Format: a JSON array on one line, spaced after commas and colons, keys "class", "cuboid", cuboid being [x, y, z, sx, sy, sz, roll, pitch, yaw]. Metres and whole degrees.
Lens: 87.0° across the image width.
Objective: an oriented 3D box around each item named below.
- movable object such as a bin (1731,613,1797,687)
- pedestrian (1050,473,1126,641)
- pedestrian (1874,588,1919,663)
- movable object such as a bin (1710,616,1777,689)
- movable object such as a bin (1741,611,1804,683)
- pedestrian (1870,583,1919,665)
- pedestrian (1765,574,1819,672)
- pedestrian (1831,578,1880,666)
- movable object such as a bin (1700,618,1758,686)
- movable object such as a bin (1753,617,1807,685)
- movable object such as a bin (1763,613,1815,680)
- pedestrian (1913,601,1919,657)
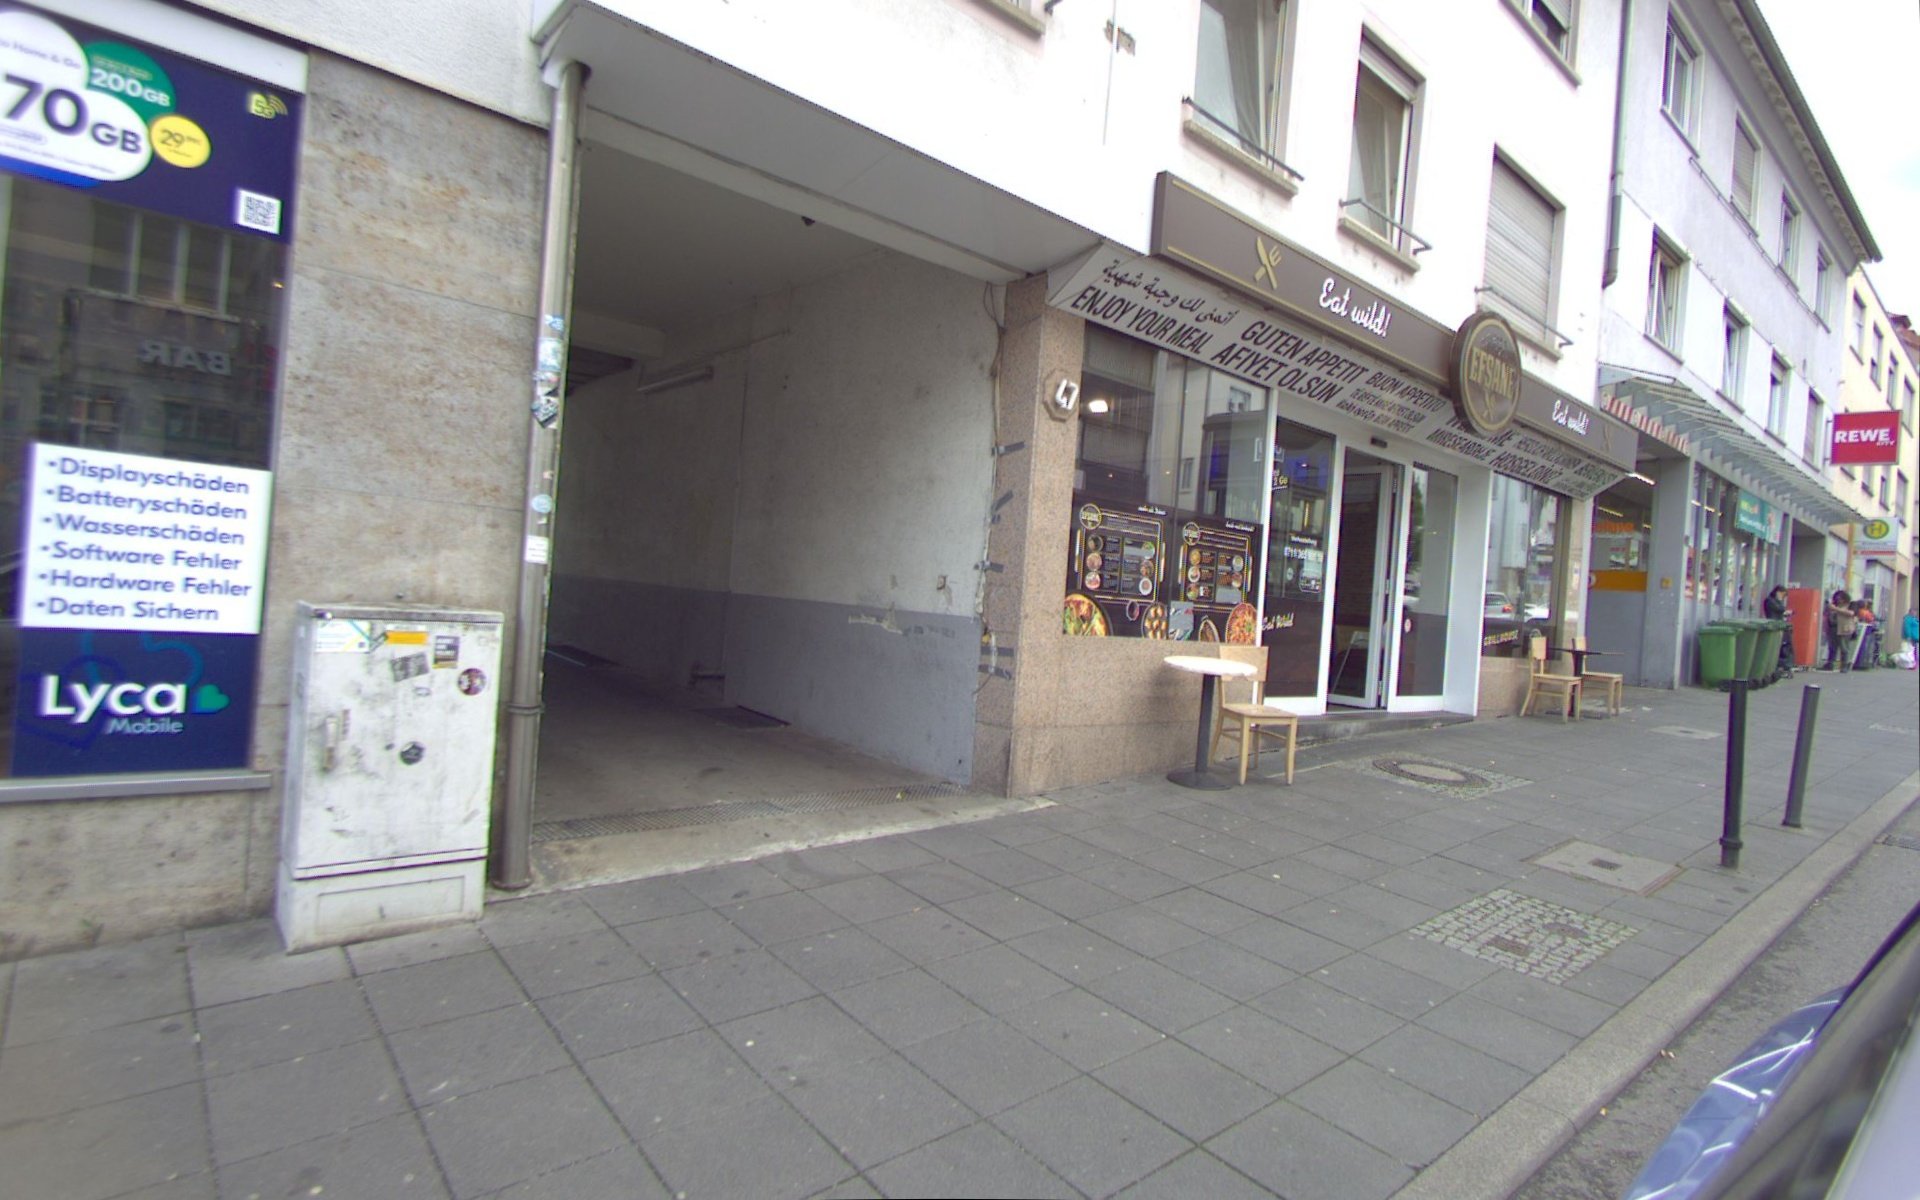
[{"class": "movable object such as a bin", "cuboid": [12.630, 0.764, 15.895, 0.661, 1.094, 0.652, 1, 2, -40]}, {"class": "pedestrian", "cuboid": [1.387, -0.458, 10.914, 0.621, 1.747, 0.601, 1, 1, 26]}, {"class": "pedestrian", "cuboid": [22.048, 0.584, 23.809, 0.599, 1.747, 0.623, 0, 0, 20]}, {"class": "movable object such as a bin", "cuboid": [12.039, 0.791, 15.555, 0.550, 1.043, 0.670, 1, 2, -40]}, {"class": "movable object such as a bin", "cuboid": [13.146, 0.745, 16.372, 0.648, 1.094, 0.652, 1, 2, -40]}, {"class": "pedestrian", "cuboid": [21.400, 0.533, 23.179, 0.618, 1.845, 0.604, 0, 0, 15]}, {"class": "pedestrian", "cuboid": [15.119, 0.407, 18.403, 0.621, 1.747, 0.601, 0, 0, 26]}, {"class": "pedestrian", "cuboid": [18.470, 0.431, 20.866, 0.626, 1.746, 0.597, 5, 4, 44]}, {"class": "movable object such as a bin", "cuboid": [11.562, 0.766, 15.223, 0.489, 0.968, 0.568, 1, 2, -40]}, {"class": "movable object such as a bin", "cuboid": [13.614, 0.839, 16.797, 0.564, 1.072, 0.569, 1, 2, -40]}, {"class": "movable object such as a bin", "cuboid": [14.057, 0.774, 17.162, 0.549, 1.070, 0.559, 1, 2, -40]}, {"class": "pedestrian", "cuboid": [28.484, 0.856, 29.778, 0.626, 1.650, 0.597, 0, 0, 44]}]
